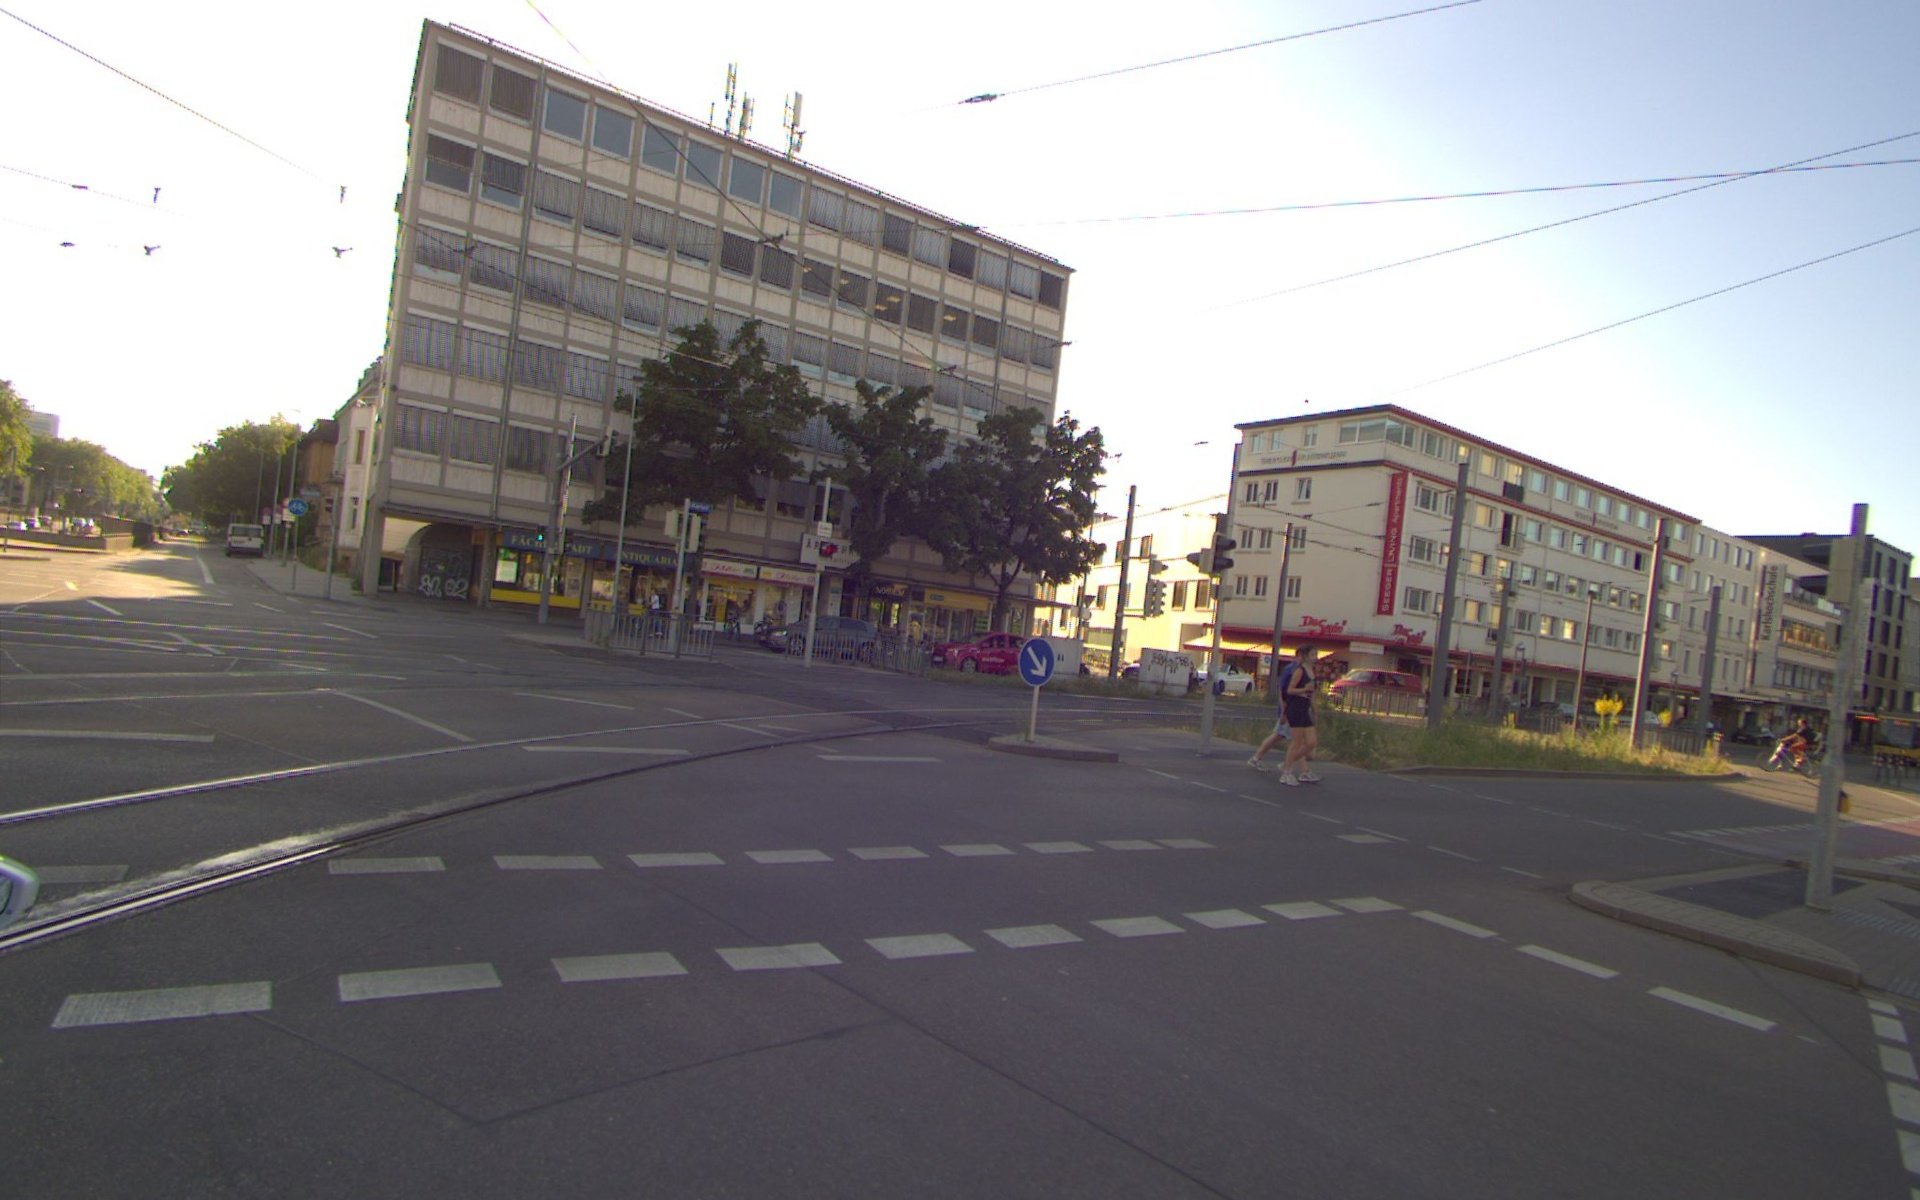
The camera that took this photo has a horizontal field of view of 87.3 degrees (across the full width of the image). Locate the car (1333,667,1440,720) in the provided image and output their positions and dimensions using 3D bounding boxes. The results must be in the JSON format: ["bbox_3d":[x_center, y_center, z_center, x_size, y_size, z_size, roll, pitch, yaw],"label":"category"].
[{"bbox_3d":[19.997,4.375,47.113,4.571,1.863,1.893,9,-2,-25],"label":"car"}]

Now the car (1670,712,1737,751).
[{"bbox_3d":[51.149,9.061,69.171,4.826,2.036,1.984,9,-3,-32],"label":"car"}]

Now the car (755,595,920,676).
[{"bbox_3d":[-3.347,0.998,27.700,3.964,1.636,1.828,10,-3,-34],"label":"car"}]

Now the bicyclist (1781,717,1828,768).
[{"bbox_3d":[26.810,4.507,31.952,0.883,1.474,0.724,7,-2,30],"label":"bicyclist"}]

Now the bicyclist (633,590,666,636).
[{"bbox_3d":[-10.393,0.430,33.666,0.677,1.440,0.664,9,-2,-39],"label":"bicyclist"}]

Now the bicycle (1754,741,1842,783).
[{"bbox_3d":[26.616,5.142,31.992,1.957,0.959,0.724,6,-2,29],"label":"bicycle"}]

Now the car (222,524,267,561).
[{"bbox_3d":[-50.913,-4.082,71.559,2.275,2.196,4.787,9,-3,-36],"label":"car"}]

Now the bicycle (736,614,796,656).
[{"bbox_3d":[-7.286,1.299,37.639,0.748,1.157,2.607,9,0,-44],"label":"bicycle"}]

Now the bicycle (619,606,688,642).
[{"bbox_3d":[-10.271,0.813,33.786,2.017,0.951,0.664,10,-3,-40],"label":"bicycle"}]

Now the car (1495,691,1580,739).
[{"bbox_3d":[32.490,6.467,56.565,4.826,2.036,1.984,9,-3,-32],"label":"car"}]

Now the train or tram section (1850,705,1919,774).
[{"bbox_3d":[64.579,9.583,67.561,13.230,3.878,3.684,8,-2,-33],"label":"train or tram section"}]

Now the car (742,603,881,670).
[{"bbox_3d":[-4.906,1.230,33.491,4.045,1.636,1.828,10,-3,-34],"label":"car"}]

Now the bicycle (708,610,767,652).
[{"bbox_3d":[-8.172,1.129,36.858,0.748,1.157,2.607,9,0,-44],"label":"bicycle"}]

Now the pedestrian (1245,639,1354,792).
[{"bbox_3d":[4.166,1.404,12.410,1.022,1.701,0.698,7,-1,14],"label":"pedestrian"}]

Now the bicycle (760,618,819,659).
[{"bbox_3d":[-6.526,1.437,38.328,0.748,1.157,2.607,9,0,-44],"label":"bicycle"}]

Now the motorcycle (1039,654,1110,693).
[{"bbox_3d":[3.973,2.545,34.649,2.647,1.012,0.530,10,-2,-34],"label":"motorcycle"}]

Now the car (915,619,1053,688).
[{"bbox_3d":[0.783,1.732,32.164,3.964,1.636,1.828,10,-3,-34],"label":"car"}]

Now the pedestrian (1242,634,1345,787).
[{"bbox_3d":[4.354,1.433,13.209,1.022,1.813,0.698,7,-1,14],"label":"pedestrian"}]

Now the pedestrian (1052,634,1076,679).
[{"bbox_3d":[4.982,2.708,48.313,0.620,2.036,0.710,8,-2,-28],"label":"pedestrian"}]

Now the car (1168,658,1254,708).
[{"bbox_3d":[10.462,3.483,41.776,1.817,1.636,3.988,6,-3,39],"label":"car"}]

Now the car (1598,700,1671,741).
[{"bbox_3d":[43.591,7.810,64.974,4.826,2.036,1.984,9,-3,-32],"label":"car"}]

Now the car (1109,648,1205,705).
[{"bbox_3d":[7.399,2.880,37.490,1.816,1.636,3.990,6,-3,37],"label":"car"}]
